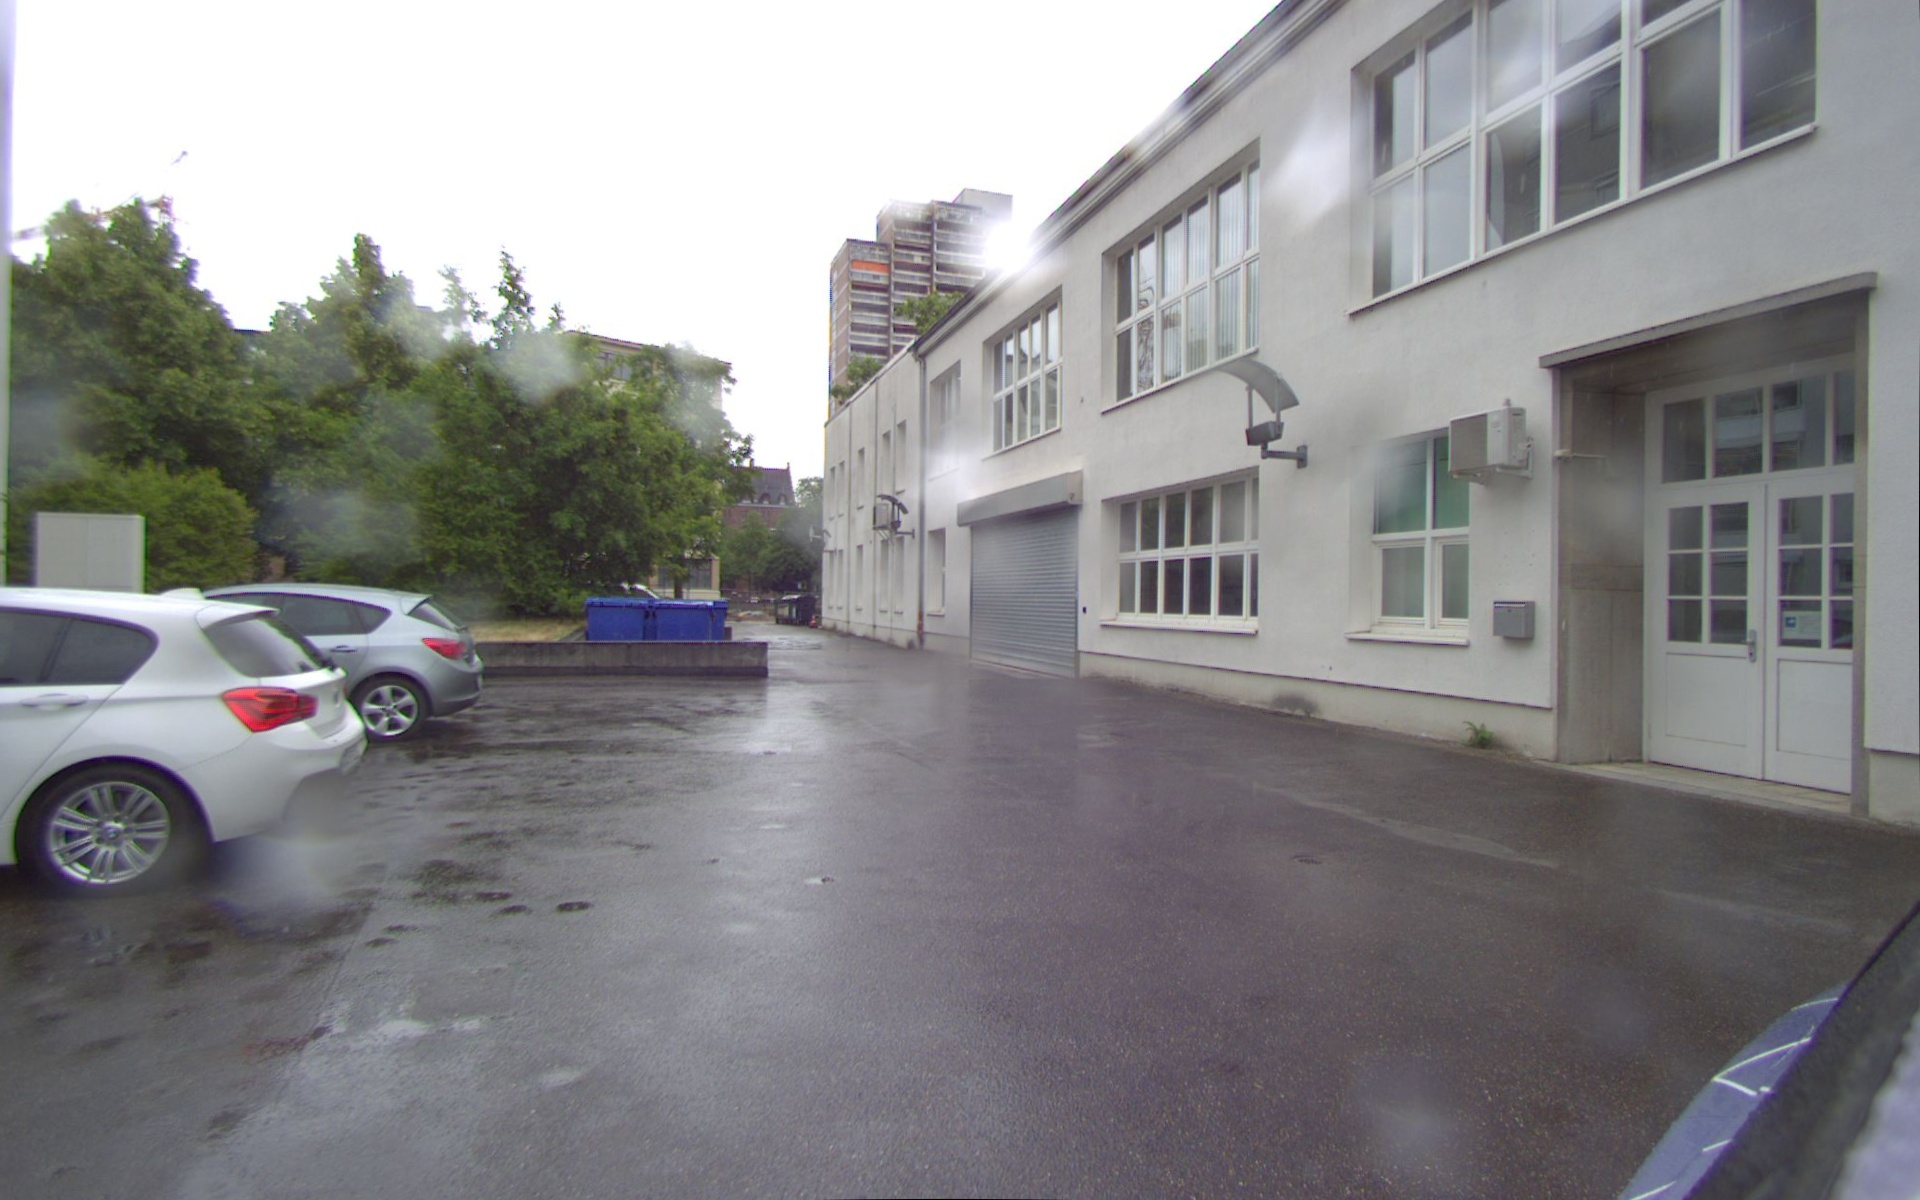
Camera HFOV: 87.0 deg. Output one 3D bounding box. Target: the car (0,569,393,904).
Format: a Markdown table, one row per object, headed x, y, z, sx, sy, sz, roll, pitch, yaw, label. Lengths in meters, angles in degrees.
| x | y | z | sx | sy | sz | roll | pitch | yaw | label |
| --- | --- | --- | --- | --- | --- | --- | --- | --- | --- |
| -5.438 | 0.613 | 5.209 | 4.132 | 1.508 | 2.004 | 0 | -1 | -21 | car |

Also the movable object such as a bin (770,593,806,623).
| x | y | z | sx | sy | sz | roll | pitch | yaw | label |
| --- | --- | --- | --- | --- | --- | --- | --- | --- | --- |
| -8.604 | 0.406 | 50.602 | 1.461 | 1.467 | 1.316 | -1 | -2 | -23 | movable object such as a bin |

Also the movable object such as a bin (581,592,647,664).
| x | y | z | sx | sy | sz | roll | pitch | yaw | label |
| --- | --- | --- | --- | --- | --- | --- | --- | --- | --- |
| -7.049 | 0.558 | 20.672 | 1.207 | 1.375 | 1.974 | -1 | -2 | -18 | movable object such as a bin |

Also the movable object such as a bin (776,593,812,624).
| x | y | z | sx | sy | sz | roll | pitch | yaw | label |
| --- | --- | --- | --- | --- | --- | --- | --- | --- | --- |
| -8.101 | 0.400 | 49.347 | 1.461 | 1.467 | 1.316 | -1 | -2 | -23 | movable object such as a bin |

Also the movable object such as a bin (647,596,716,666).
| x | y | z | sx | sy | sz | roll | pitch | yaw | label |
| --- | --- | --- | --- | --- | --- | --- | --- | --- | --- |
| -5.818 | 0.634 | 21.072 | 1.286 | 1.375 | 1.908 | -1 | -2 | -18 | movable object such as a bin |

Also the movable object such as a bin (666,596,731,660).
| x | y | z | sx | sy | sz | roll | pitch | yaw | label |
| --- | --- | --- | --- | --- | --- | --- | --- | --- | --- |
| -5.978 | 0.637 | 23.037 | 1.286 | 1.375 | 1.908 | -1 | -2 | -18 | movable object such as a bin |

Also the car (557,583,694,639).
| x | y | z | sx | sy | sz | roll | pitch | yaw | label |
| --- | --- | --- | --- | --- | --- | --- | --- | --- | --- |
| -12.070 | 0.410 | 36.775 | 4.599 | 1.906 | 2.126 | -1 | -3 | -16 | car |

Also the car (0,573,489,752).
| x | y | z | sx | sy | sz | roll | pitch | yaw | label |
| --- | --- | --- | --- | --- | --- | --- | --- | --- | --- |
| -7.036 | 0.543 | 10.055 | 4.132 | 1.508 | 2.004 | 0 | -1 | -21 | car |

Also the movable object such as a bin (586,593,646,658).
| x | y | z | sx | sy | sz | roll | pitch | yaw | label |
| --- | --- | --- | --- | --- | --- | --- | --- | --- | --- |
| -7.664 | 0.566 | 22.579 | 1.207 | 1.375 | 1.974 | -1 | -2 | -18 | movable object such as a bin |

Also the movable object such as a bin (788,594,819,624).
| x | y | z | sx | sy | sz | roll | pitch | yaw | label |
| --- | --- | --- | --- | --- | --- | --- | --- | --- | --- |
| -7.424 | 0.427 | 47.893 | 1.163 | 1.392 | 1.316 | 0 | -2 | -23 | movable object such as a bin |
